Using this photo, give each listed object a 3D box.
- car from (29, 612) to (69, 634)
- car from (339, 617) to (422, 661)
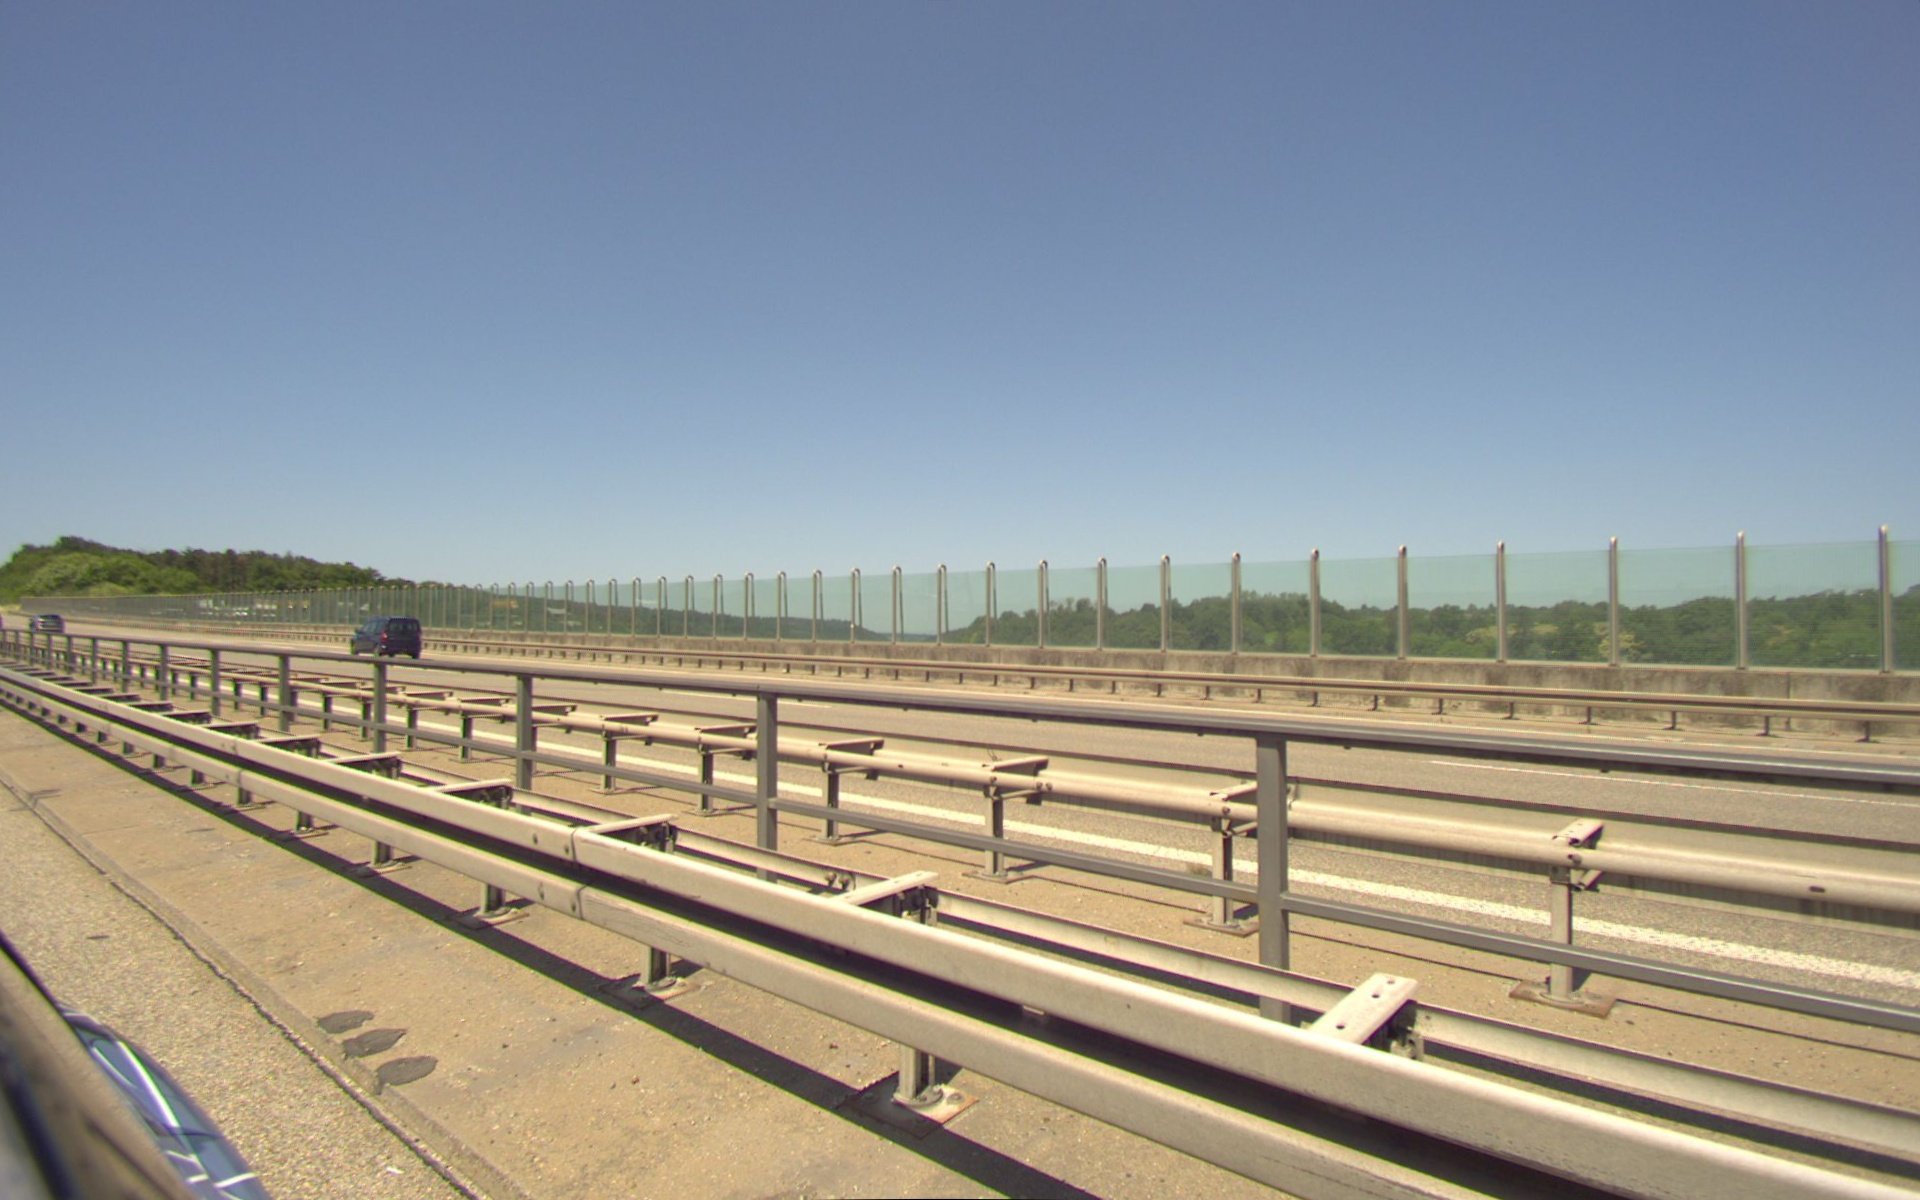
[{"bbox_3d":[-70.300,1.788,78.067,3.998,1.559,1.736,0,-3,41],"label":"car"},{"bbox_3d":[-25.104,1.665,43.814,4.299,1.798,1.764,-1,-2,41],"label":"car"}]
